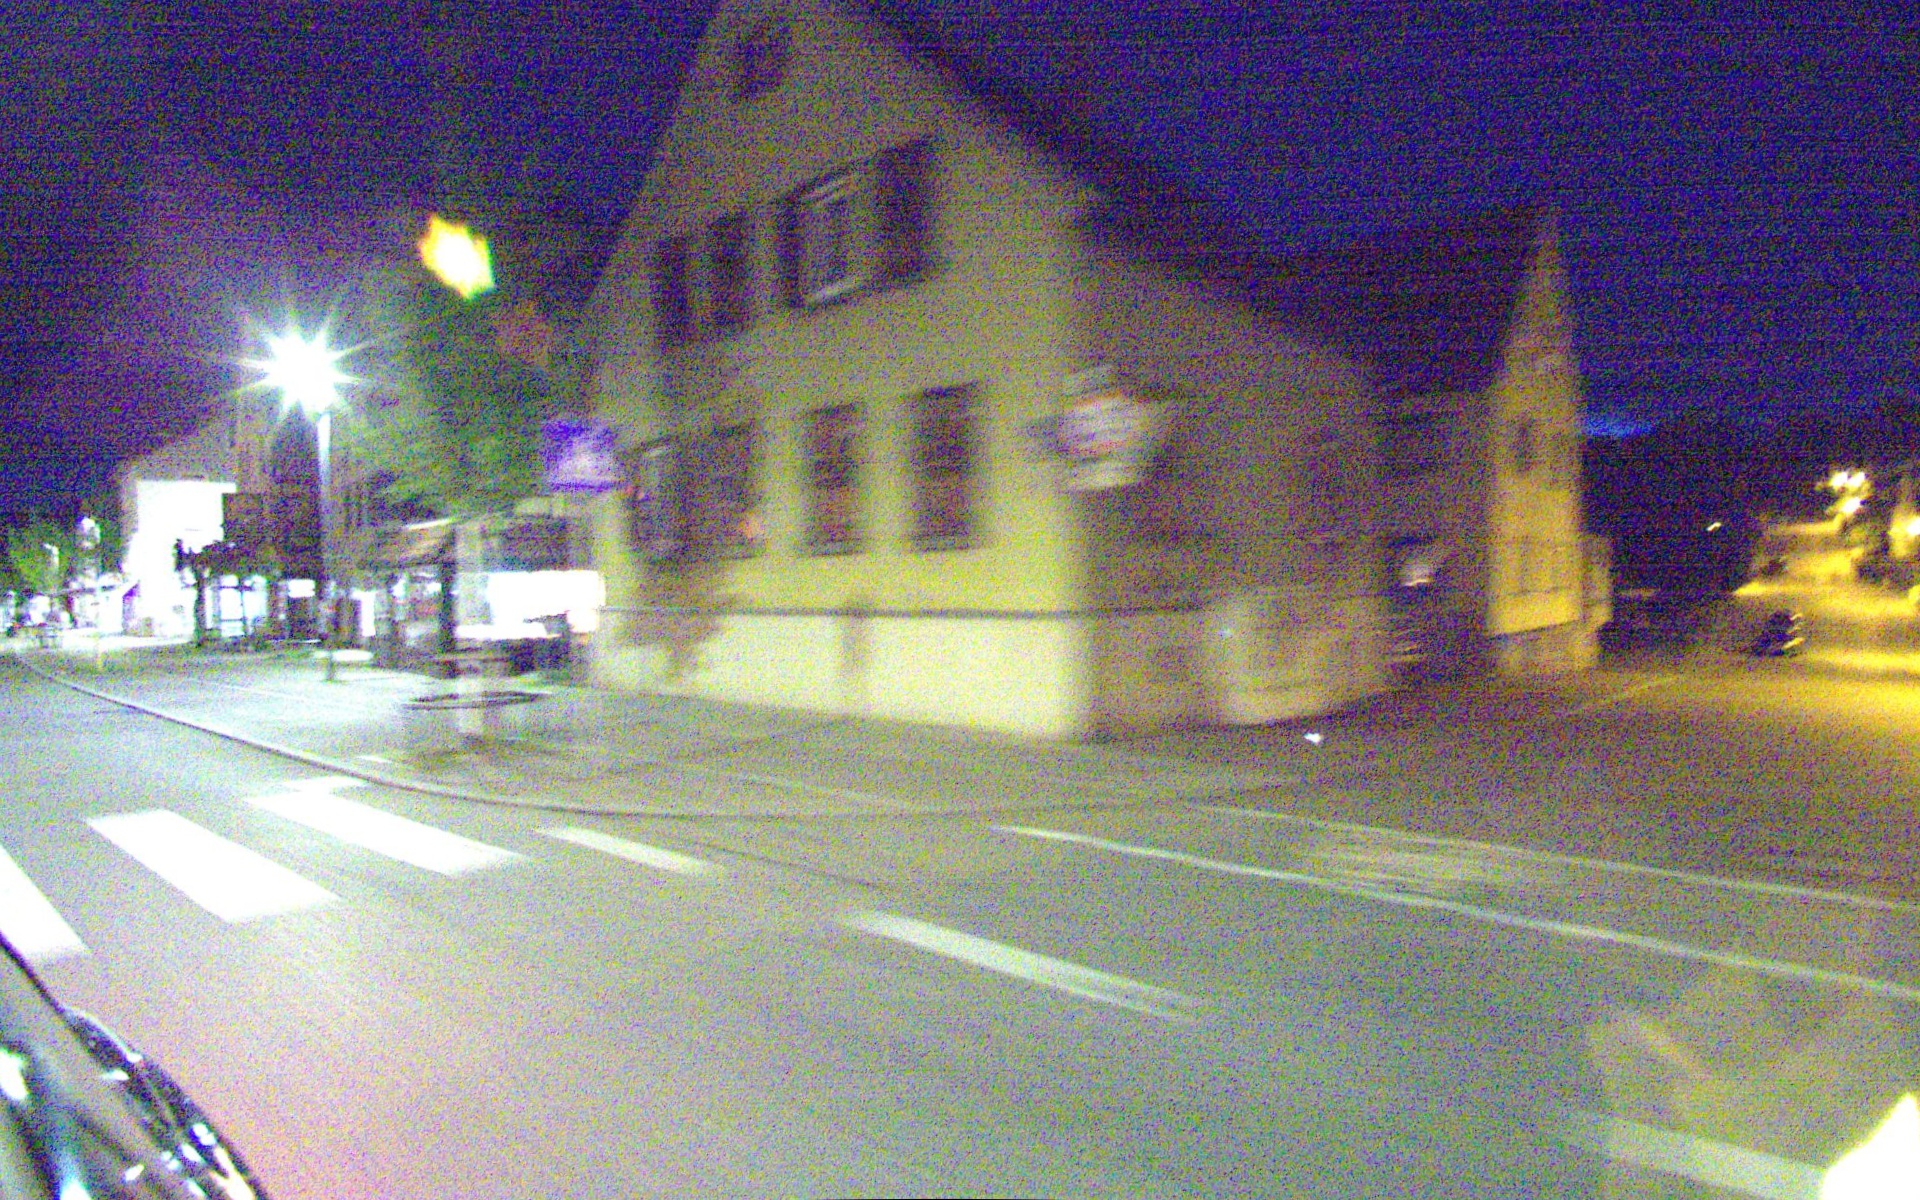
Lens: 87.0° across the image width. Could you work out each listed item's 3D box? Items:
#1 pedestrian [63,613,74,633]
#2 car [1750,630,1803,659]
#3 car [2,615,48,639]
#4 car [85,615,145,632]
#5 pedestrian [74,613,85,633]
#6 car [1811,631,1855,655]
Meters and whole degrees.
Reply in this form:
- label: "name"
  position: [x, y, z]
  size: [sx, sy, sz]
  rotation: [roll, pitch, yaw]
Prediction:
- label: "pedestrian"
  position: [-71.515, 1.870, 81.205]
  size: [0.664, 1.600, 0.523]
  rotation: [-1, -1, 37]
- label: "car"
  position: [41.815, 2.257, 51.781]
  size: [1.999, 1.364, 4.167]
  rotation: [-1, -2, 40]
- label: "car"
  position: [-59.997, 1.726, 64.903]
  size: [4.931, 1.430, 1.875]
  rotation: [-1, 1, 44]
- label: "car"
  position: [-72.820, 1.984, 87.234]
  size: [1.653, 1.427, 3.780]
  rotation: [-1, -1, 45]
- label: "pedestrian"
  position: [-70.935, 1.864, 81.523]
  size: [0.664, 1.600, 0.523]
  rotation: [-1, -1, 34]
- label: "car"
  position: [53.745, 2.630, 62.348]
  size: [1.999, 1.364, 4.663]
  rotation: [-1, -2, 40]
